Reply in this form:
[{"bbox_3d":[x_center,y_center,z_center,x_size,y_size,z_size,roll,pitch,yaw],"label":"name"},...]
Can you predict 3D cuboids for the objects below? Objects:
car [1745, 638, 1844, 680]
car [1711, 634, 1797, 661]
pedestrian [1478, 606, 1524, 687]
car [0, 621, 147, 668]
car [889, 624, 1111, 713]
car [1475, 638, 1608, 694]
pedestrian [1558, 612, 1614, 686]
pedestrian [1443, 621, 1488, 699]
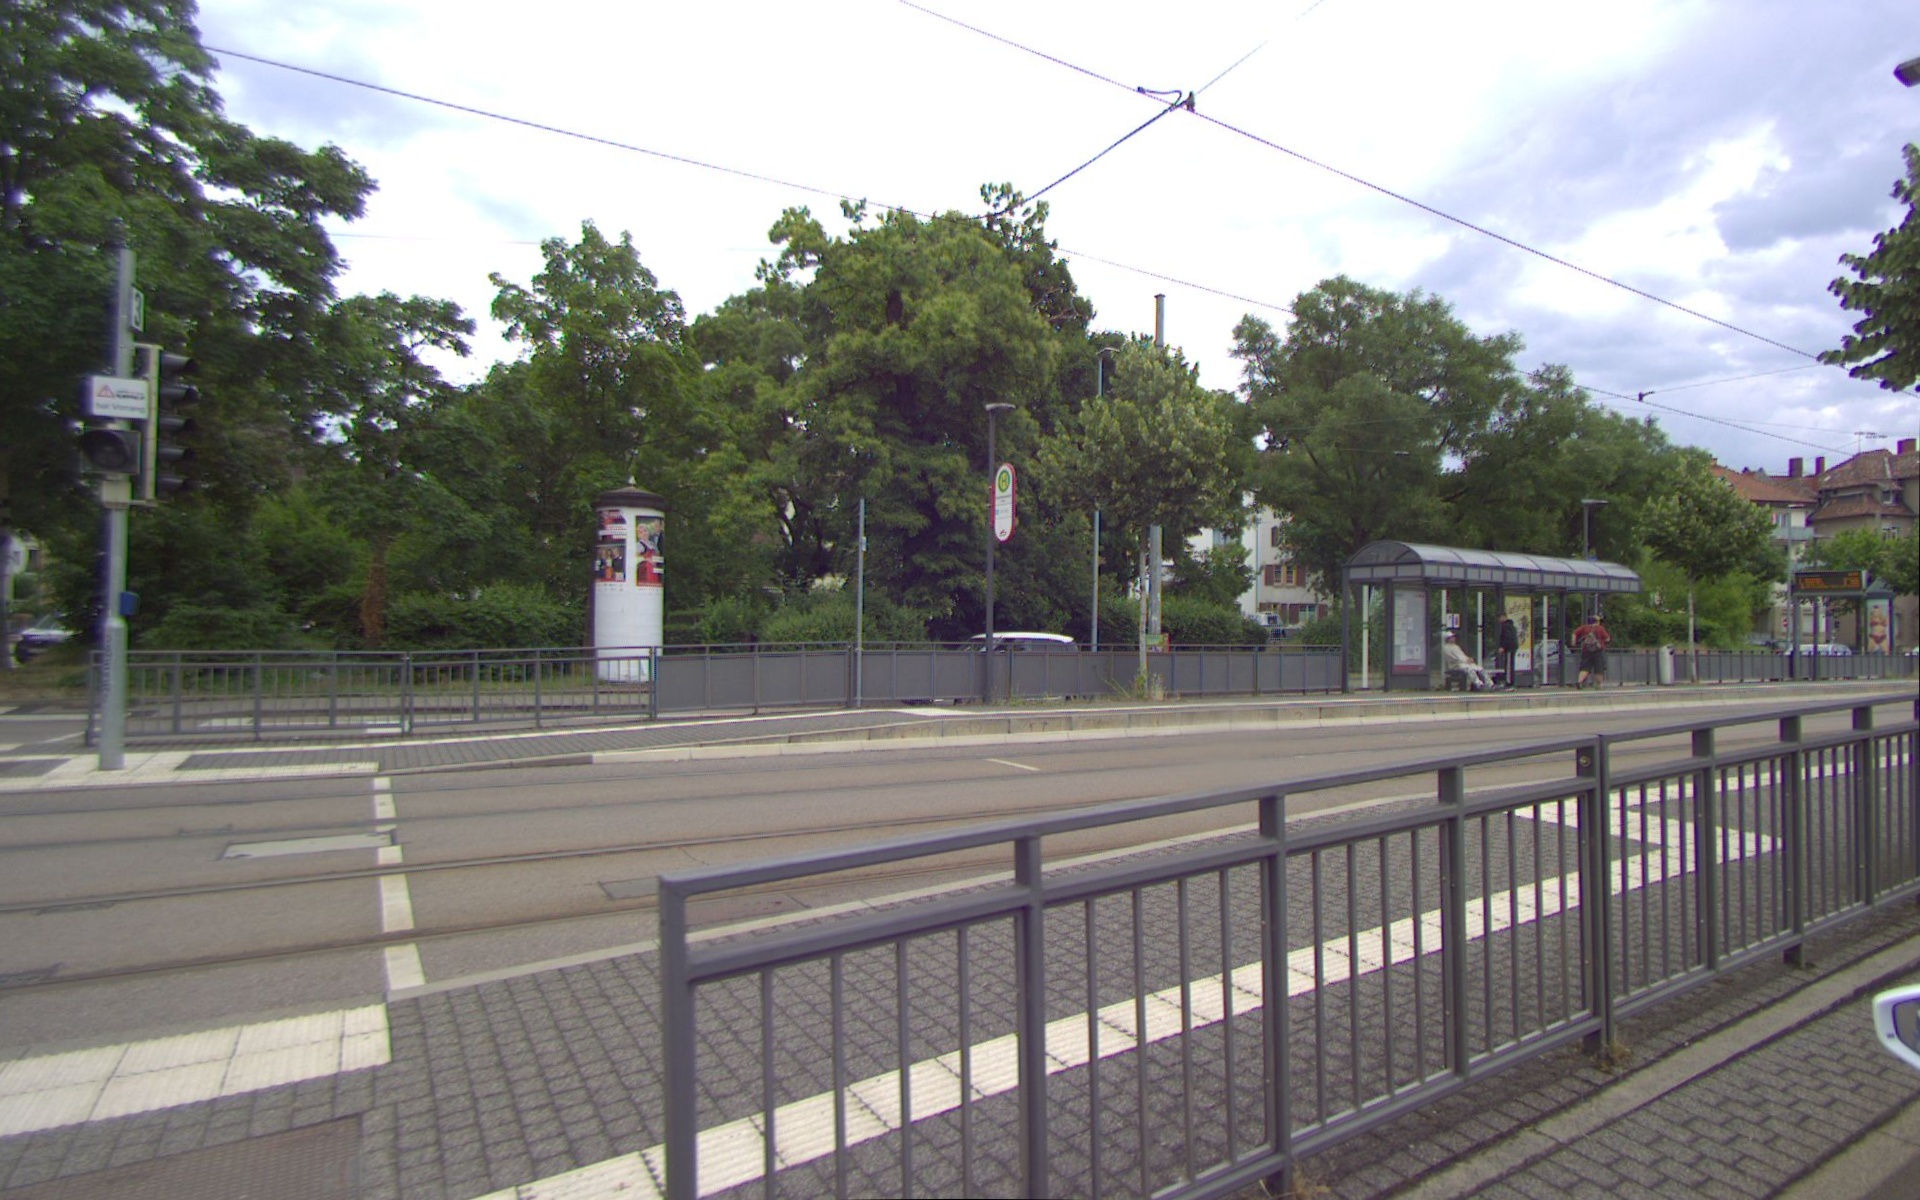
[{"bbox_3d":[31.664,2.233,38.100,3.843,1.513,1.761,2,-2,-31],"label":"car"},{"bbox_3d":[48.974,2.916,62.032,1.755,1.513,3.855,2,-2,-30],"label":"car"},{"bbox_3d":[11.890,1.017,22.069,0.693,1.738,0.694,2,-2,-39],"label":"pedestrian"},{"bbox_3d":[-28.251,1.396,31.962,1.964,1.372,4.030,1,-2,-10],"label":"car"},{"bbox_3d":[0.782,1.250,18.916,3.843,1.513,1.761,2,-2,-31],"label":"car"},{"bbox_3d":[17.126,1.913,29.549,3.843,1.513,1.761,2,-2,-31],"label":"car"},{"bbox_3d":[14.573,1.139,23.371,1.014,1.682,0.764,2,-2,-34],"label":"pedestrian"},{"bbox_3d":[10.964,1.286,21.786,0.673,1.645,0.628,2,-2,-32],"label":"pedestrian"}]
